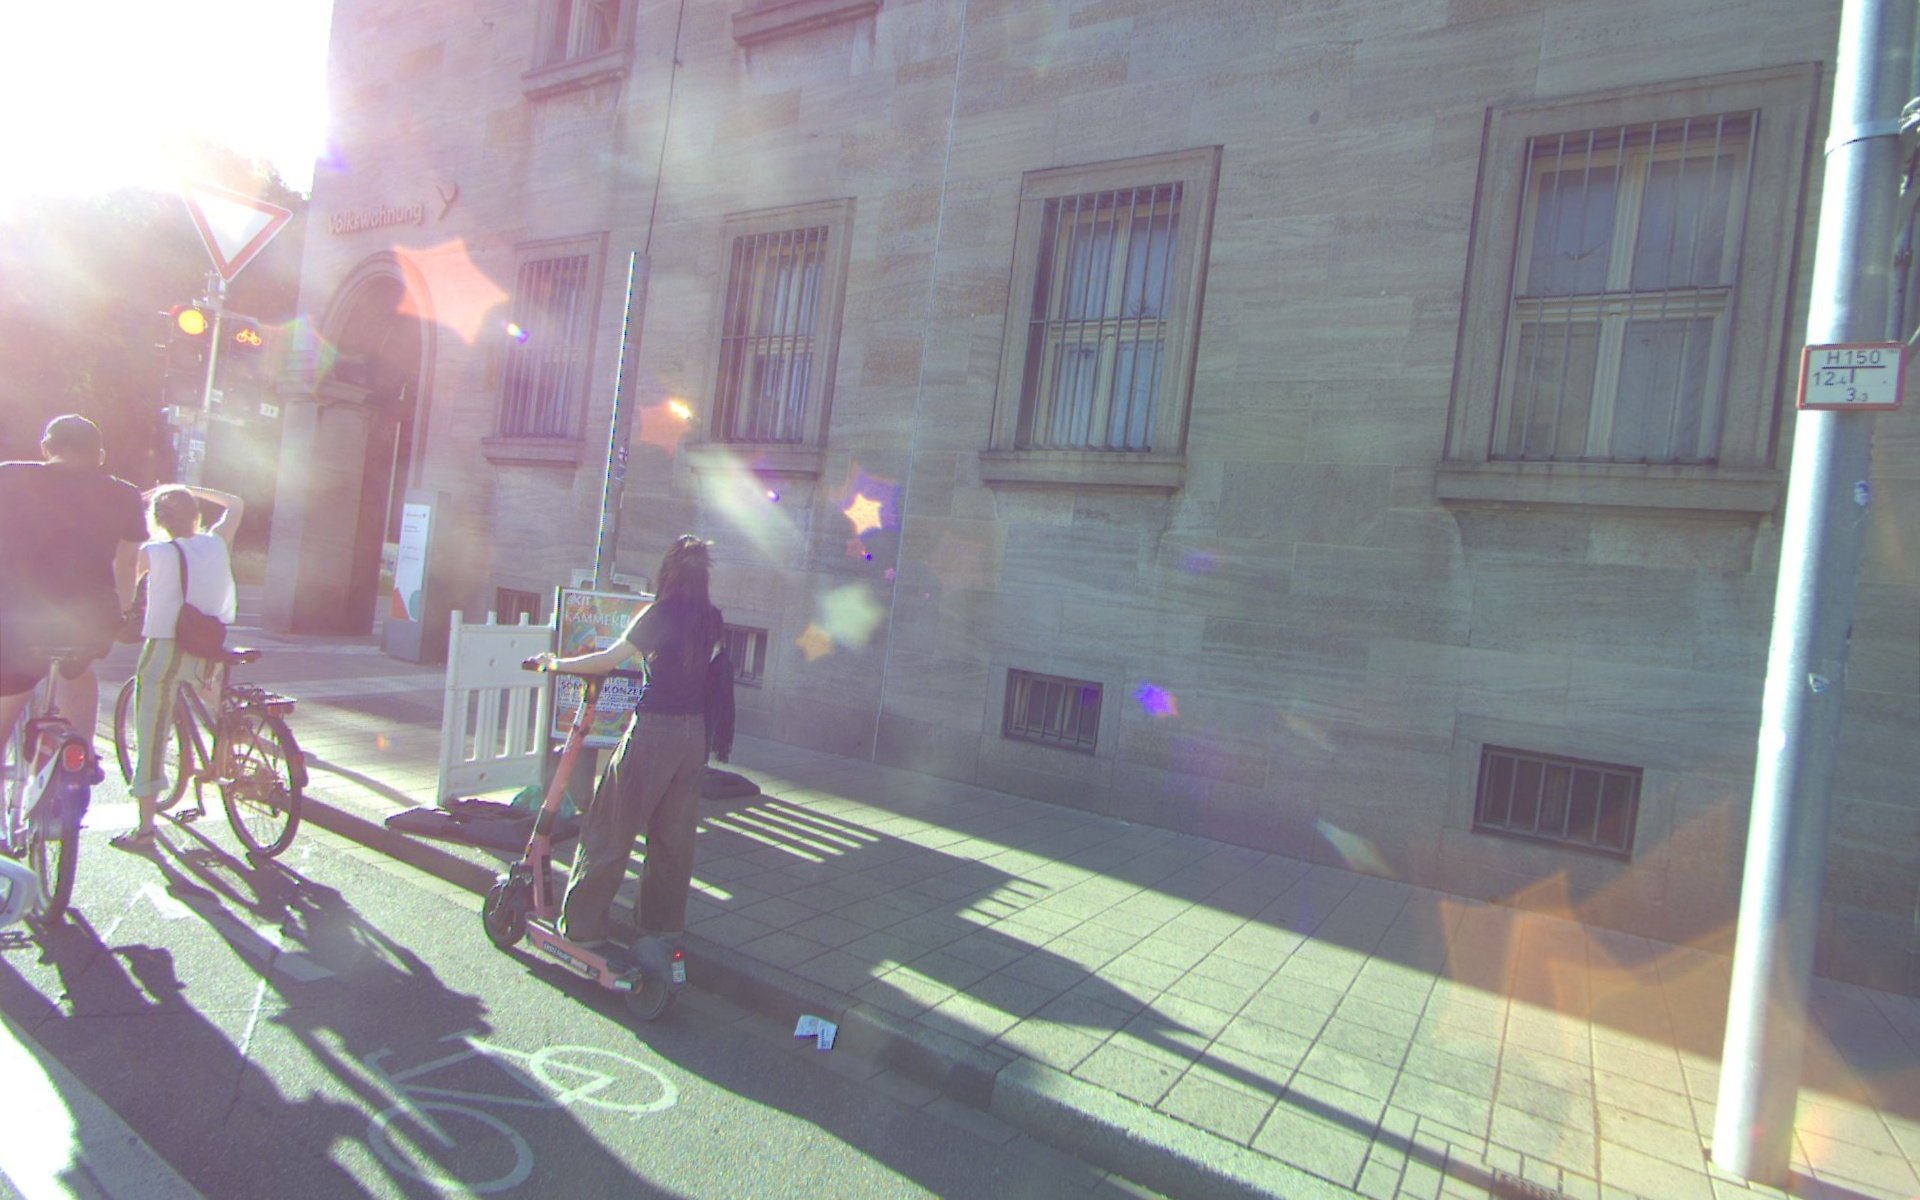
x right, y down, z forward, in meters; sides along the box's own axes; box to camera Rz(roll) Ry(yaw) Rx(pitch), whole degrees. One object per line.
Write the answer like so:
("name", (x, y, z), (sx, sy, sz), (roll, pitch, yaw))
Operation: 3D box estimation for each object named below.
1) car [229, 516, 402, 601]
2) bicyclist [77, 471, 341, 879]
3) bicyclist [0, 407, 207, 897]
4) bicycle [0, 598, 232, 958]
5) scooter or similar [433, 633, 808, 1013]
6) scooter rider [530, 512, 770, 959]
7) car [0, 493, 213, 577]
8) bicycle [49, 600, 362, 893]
("car", (-20.271, -1.256, 31.806), (1.968, 2.037, 3.994), (6, -2, 33))
("bicyclist", (-3.633, 0.318, 4.867), (0.934, 1.760, 0.584), (7, 0, 32))
("bicyclist", (-3.649, 0.172, 3.986), (0.897, 1.736, 0.624), (7, 0, 30))
("bicycle", (-3.712, 0.593, 3.991), (1.717, 1.057, 0.624), (7, 0, 31))
("scooter or similar", (-1.328, 0.784, 3.922), (1.250, 1.163, 0.574), (5, -2, 28))
("scooter rider", (-1.216, 0.489, 3.932), (0.543, 1.581, 0.570), (7, 0, -42))
("car", (-23.471, -1.746, 27.350), (1.967, 1.533, 4.586), (6, -2, 32))
("bicycle", (-3.701, 0.631, 4.888), (1.718, 1.057, 0.582), (7, 0, 33))
